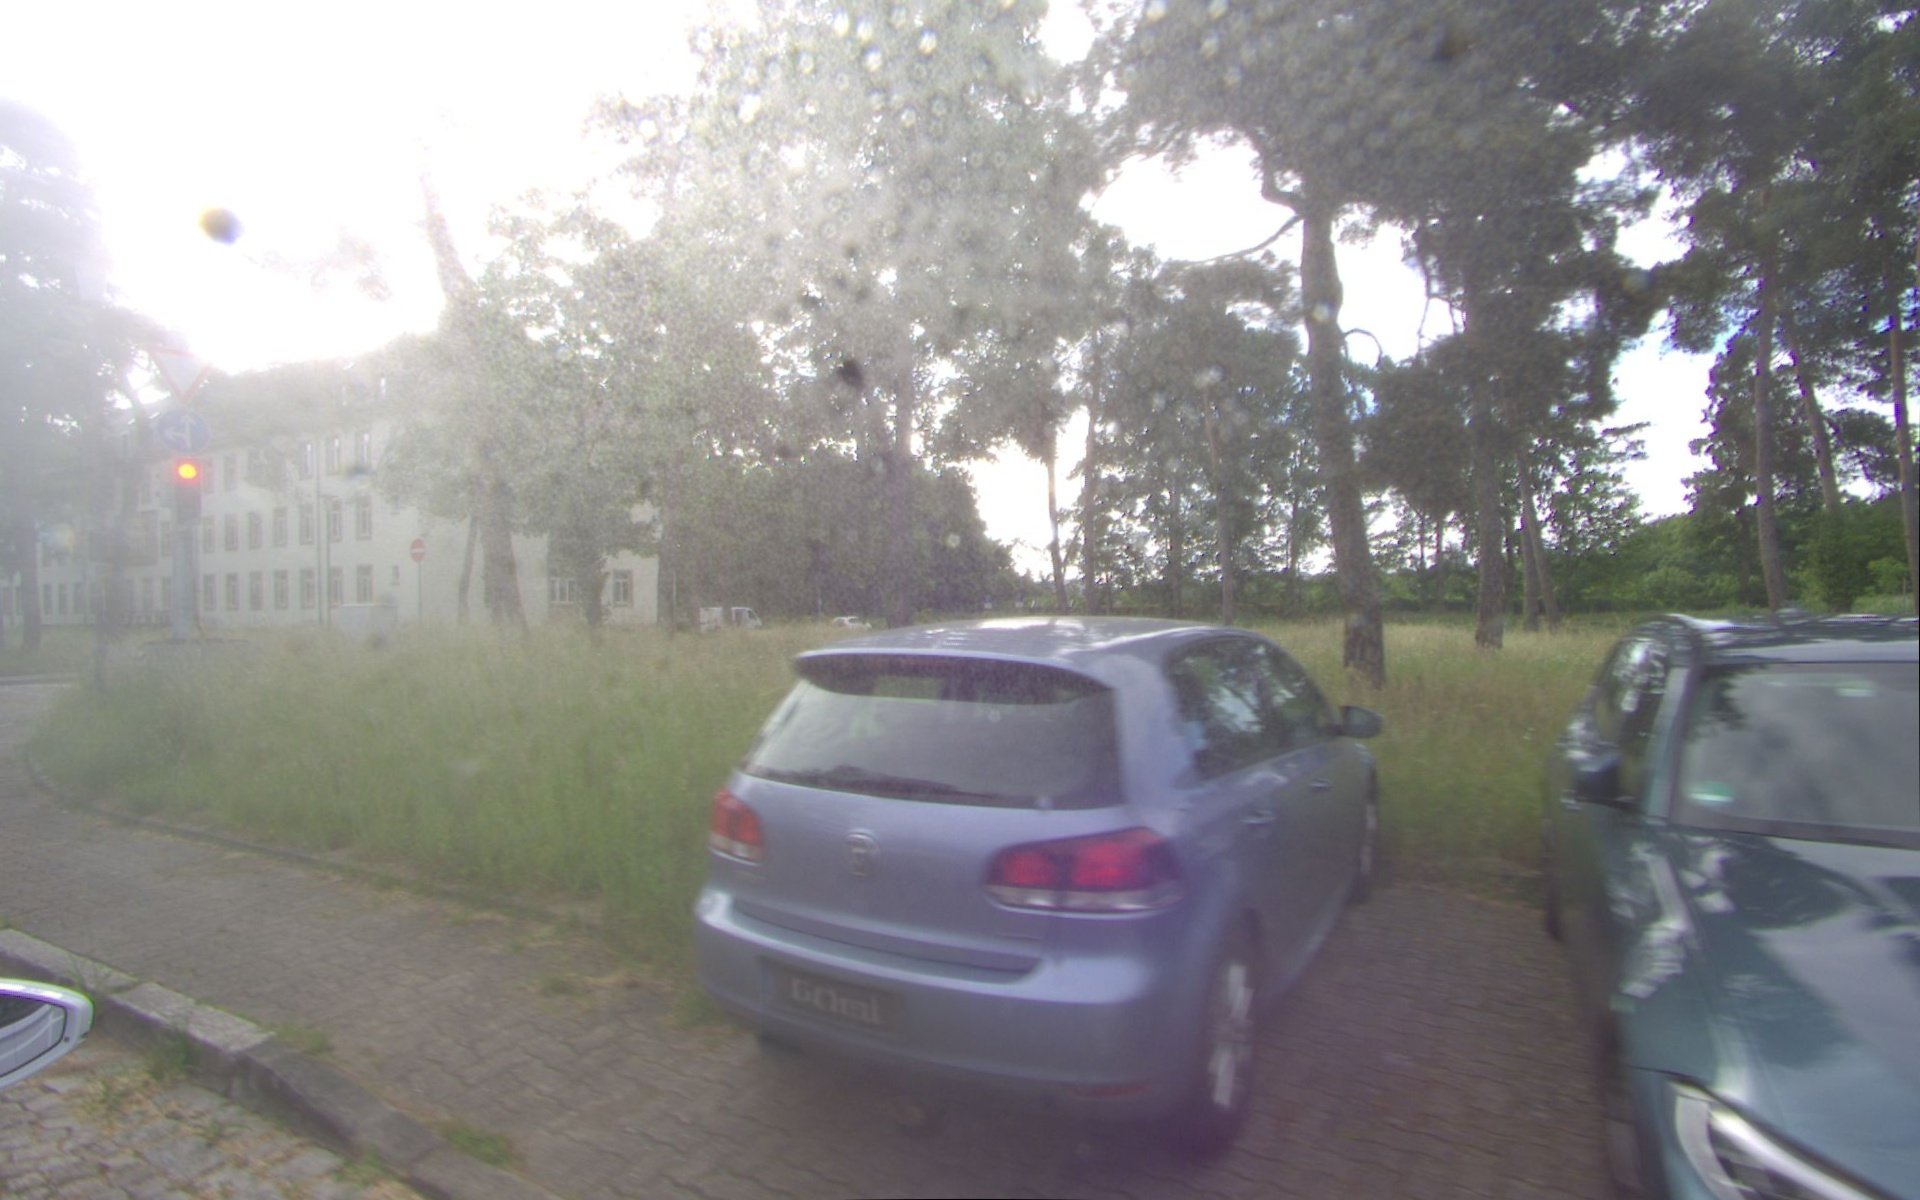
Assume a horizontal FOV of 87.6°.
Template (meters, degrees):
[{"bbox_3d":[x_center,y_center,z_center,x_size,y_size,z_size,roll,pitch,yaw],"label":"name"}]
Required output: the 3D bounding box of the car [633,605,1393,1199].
[{"bbox_3d":[0.680,0.774,4.141,1.582,1.446,3.756,0,1,31],"label":"car"}]

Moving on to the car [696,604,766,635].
[{"bbox_3d":[-17.313,1.474,76.020,2.182,2.318,5.170,-1,-1,33],"label":"car"}]

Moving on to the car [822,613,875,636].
[{"bbox_3d":[-7.893,1.729,71.044,1.972,1.527,3.475,-1,-1,32],"label":"car"}]

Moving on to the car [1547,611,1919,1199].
[{"bbox_3d":[2.911,0.787,3.066,1.734,1.502,4.753,0,-1,28],"label":"car"}]
